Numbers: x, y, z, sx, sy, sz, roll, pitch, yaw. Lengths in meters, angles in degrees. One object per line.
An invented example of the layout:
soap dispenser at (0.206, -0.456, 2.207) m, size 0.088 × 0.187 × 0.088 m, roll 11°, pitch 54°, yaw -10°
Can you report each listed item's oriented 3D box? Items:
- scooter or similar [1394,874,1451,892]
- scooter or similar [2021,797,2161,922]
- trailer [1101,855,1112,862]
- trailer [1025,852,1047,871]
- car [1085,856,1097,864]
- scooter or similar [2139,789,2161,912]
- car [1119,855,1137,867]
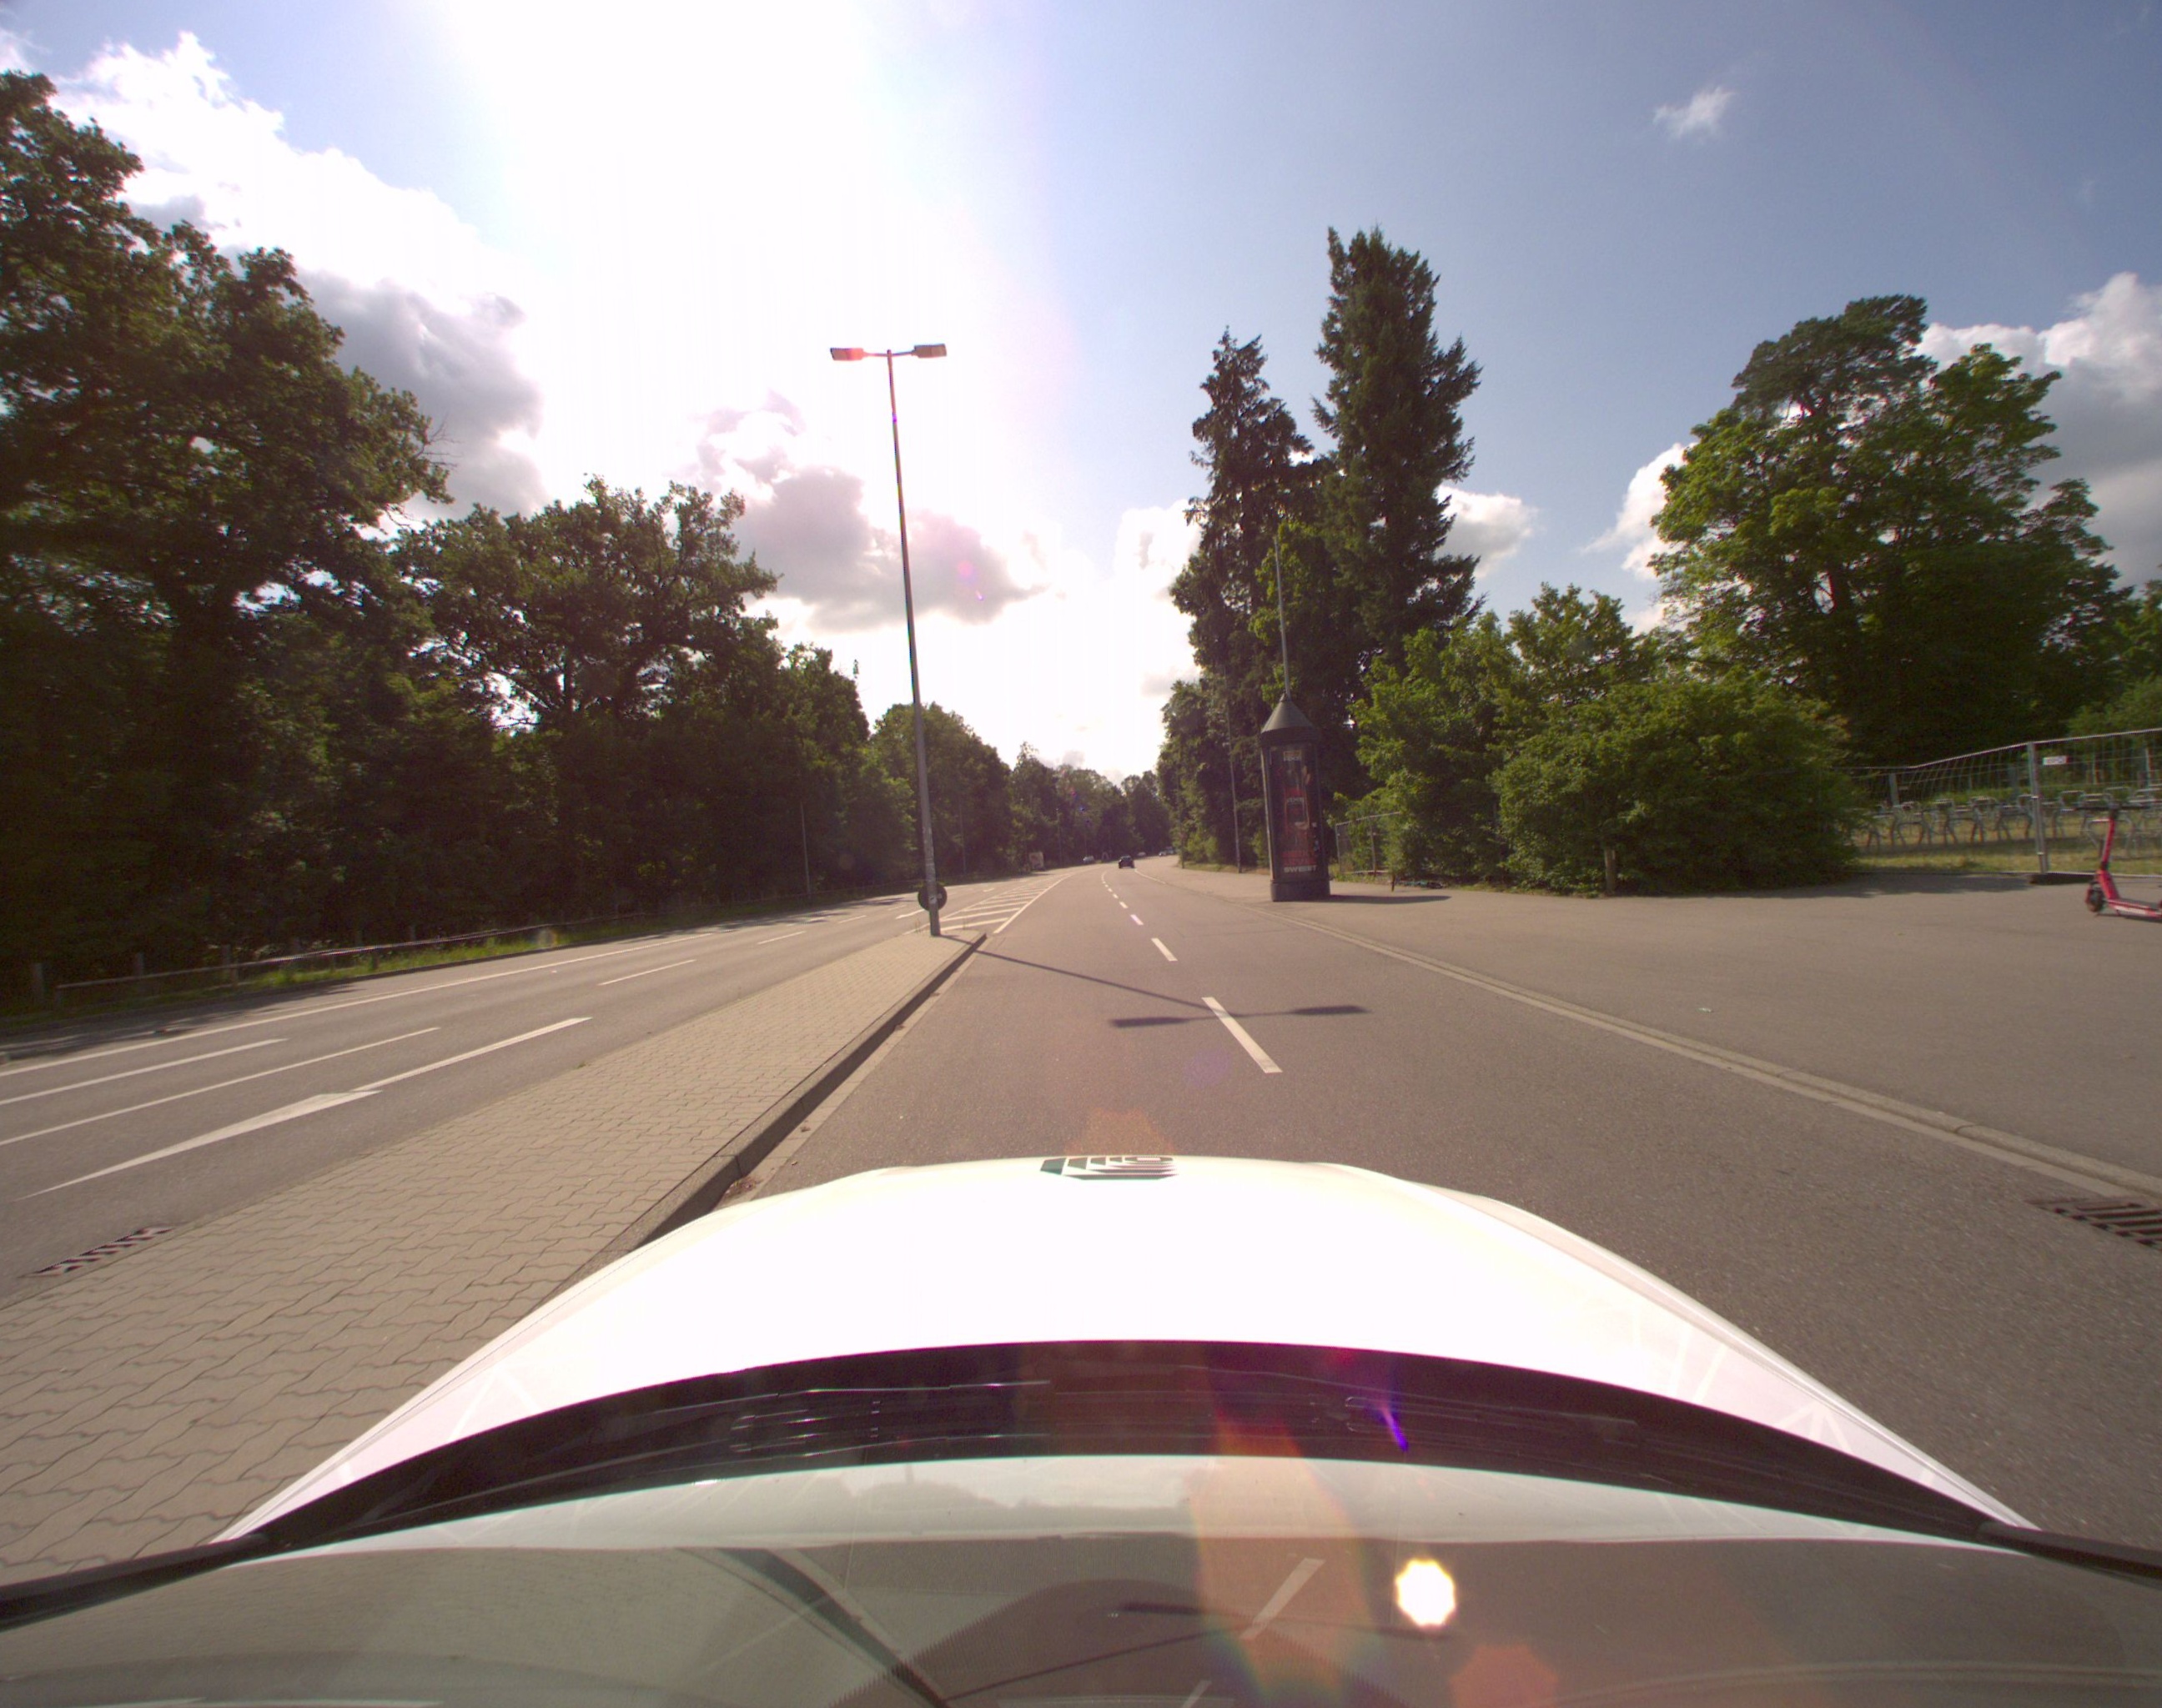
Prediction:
scooter or similar at (8.938, 0.753, 21.365) m, size 0.851 × 0.389 × 1.473 m, roll 1°, pitch 0°, yaw -2°
scooter or similar at (10.735, 0.038, 8.546) m, size 0.403 × 1.200 × 1.317 m, roll -5°, pitch -1°, yaw 16°
trailer at (5.583, 1.013, 176.334) m, size 1.705 × 1.354 × 3.744 m, roll -4°, pitch -1°, yaw 11°
trailer at (-5.781, 0.952, 105.483) m, size 1.983 × 2.388 × 4.008 m, roll -4°, pitch -1°, yaw 7°
car at (1.865, 1.189, 153.859) m, size 1.494 × 1.446 × 3.540 m, roll -4°, pitch -1°, yaw 11°
scooter or similar at (11.704, -0.092, 8.332) m, size 1.307 × 1.252 × 0.406 m, roll -5°, pitch -1°, yaw -8°
car at (5.804, 0.866, 100.401) m, size 1.587 × 1.378 × 3.989 m, roll -4°, pitch -1°, yaw 12°
